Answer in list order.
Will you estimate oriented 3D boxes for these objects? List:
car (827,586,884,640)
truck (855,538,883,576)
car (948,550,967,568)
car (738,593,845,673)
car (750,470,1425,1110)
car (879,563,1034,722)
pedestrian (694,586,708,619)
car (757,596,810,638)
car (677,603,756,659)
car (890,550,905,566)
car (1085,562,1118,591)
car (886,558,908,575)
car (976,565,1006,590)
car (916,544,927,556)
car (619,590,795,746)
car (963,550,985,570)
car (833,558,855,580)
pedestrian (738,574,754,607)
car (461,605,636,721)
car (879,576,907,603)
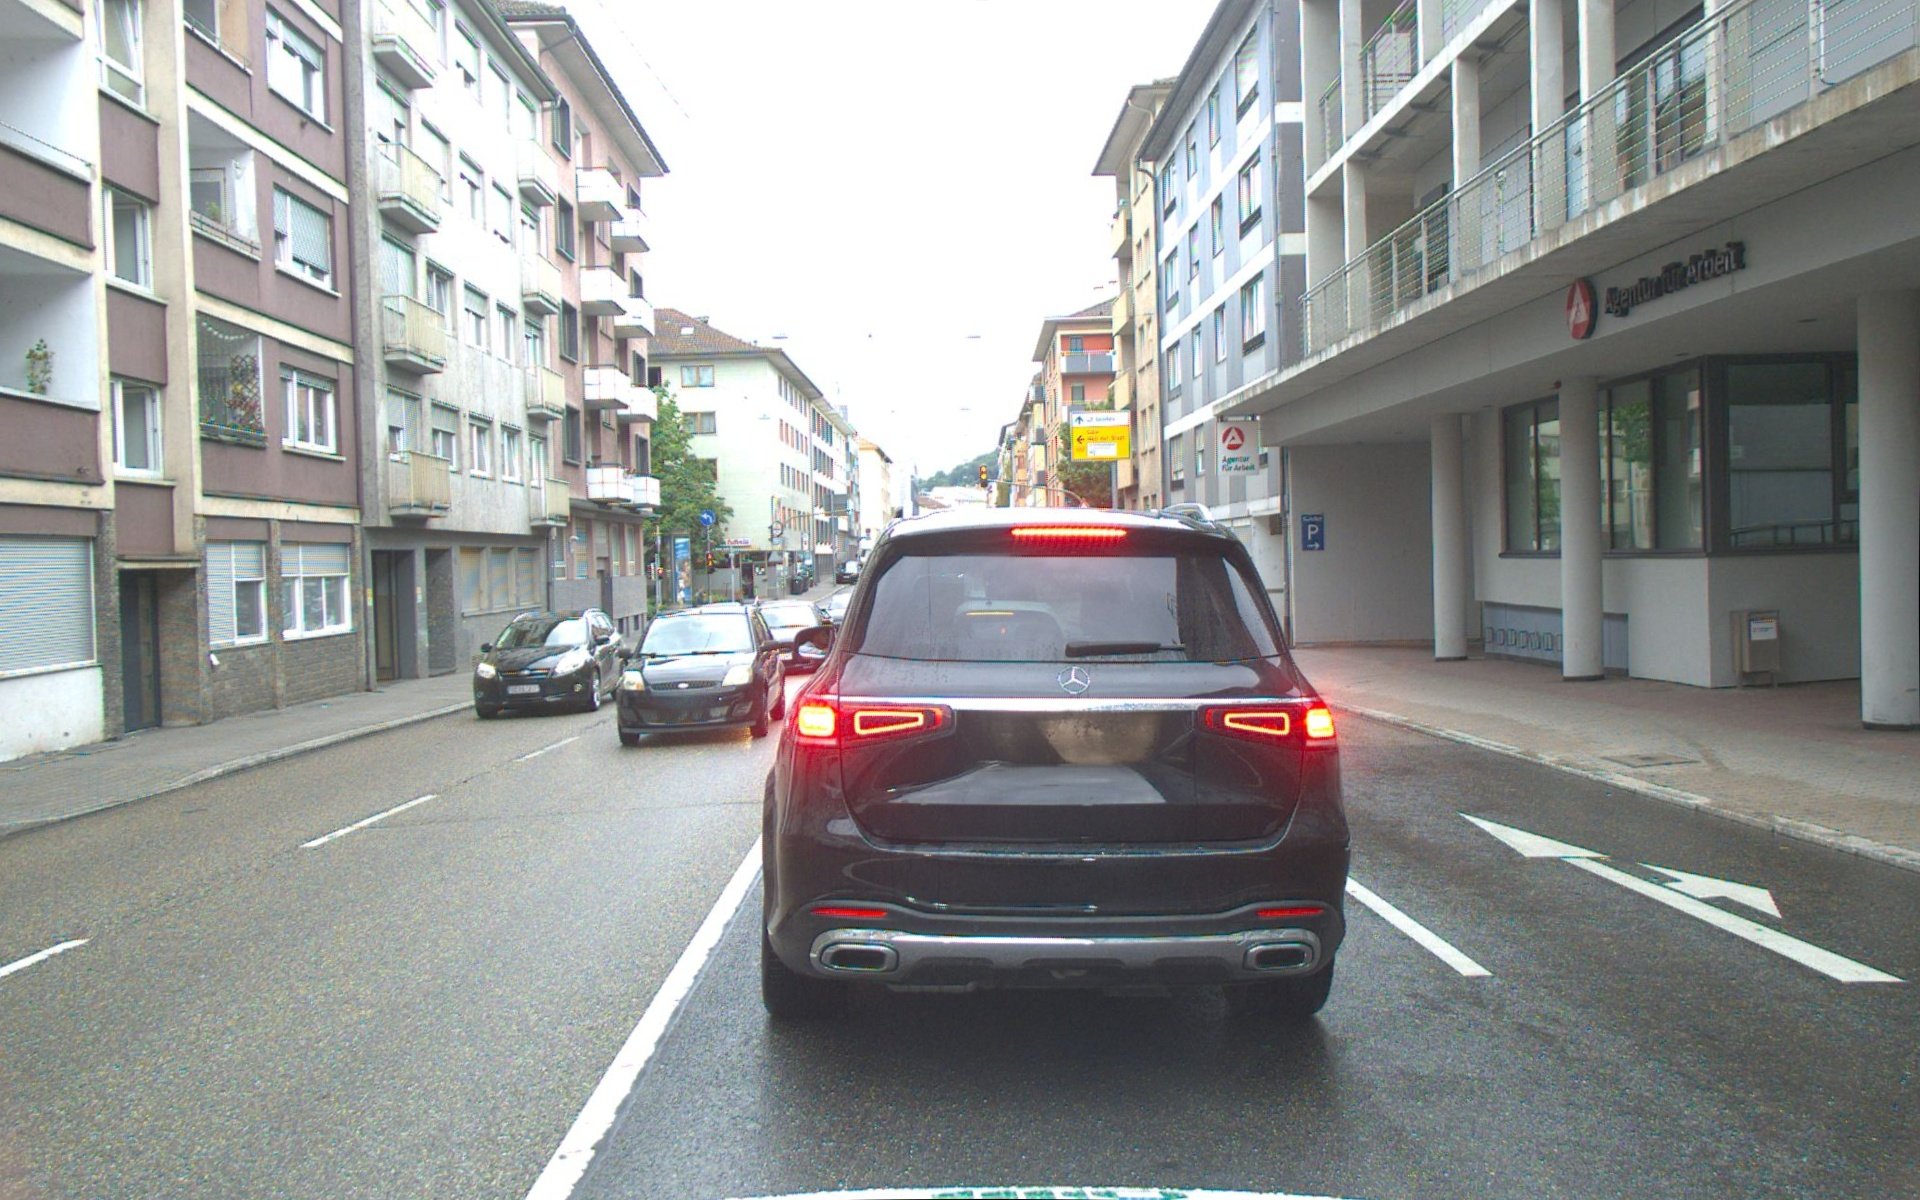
[{"bbox_3d":[-3.408,0.426,54.405,1.661,1.608,4.216,-3,-1,-2],"label":"car"},{"bbox_3d":[-8.607,-4.028,156.943,2.430,3.099,9.914,-3,0,-3],"label":"truck"},{"bbox_3d":[-0.266,-4.034,162.103,1.586,1.566,4.215,-3,0,-3],"label":"car"},{"bbox_3d":[-3.321,0.639,33.244,1.660,1.394,4.217,-4,-1,0],"label":"car"},{"bbox_3d":[0.346,0.567,7.020,1.944,1.836,4.389,1,0,-1],"label":"car"},{"bbox_3d":[-0.140,0.491,20.827,1.716,1.762,4.215,-1,0,-3],"label":"car"},{"bbox_3d":[-14.336,0.154,91.435,0.625,1.795,0.769,-2,0,-17],"label":"pedestrian"},{"bbox_3d":[-6.589,0.614,62.036,1.566,1.394,4.361,-4,0,-2],"label":"car"},{"bbox_3d":[-6.844,0.856,46.822,1.661,1.394,4.364,-4,0,-2],"label":"car"},{"bbox_3d":[-7.288,-4.914,193.606,1.586,1.566,4.215,-3,0,-3],"label":"car"},{"bbox_3d":[8.086,-1.338,94.755,1.636,1.616,3.331,-2,1,1],"label":"car"},{"bbox_3d":[-5.528,-2.923,144.551,1.848,1.286,4.215,-3,0,-3],"label":"car"},{"bbox_3d":[1.987,-1.424,106.144,1.586,1.411,4.215,-3,0,-3],"label":"car"},{"bbox_3d":[-5.827,-7.541,250.141,1.586,1.566,4.215,-3,0,-3],"label":"car"},{"bbox_3d":[-2.908,0.735,19.742,1.586,1.566,4.215,-3,0,-3],"label":"car"},{"bbox_3d":[1.232,-3.447,143.162,1.586,1.566,4.215,-3,0,-3],"label":"car"},{"bbox_3d":[-9.218,-2.463,131.491,1.586,1.566,4.215,-3,0,-3],"label":"car"},{"bbox_3d":[-13.155,-0.584,101.715,0.904,1.935,0.706,-2,0,-3],"label":"pedestrian"},{"bbox_3d":[-6.267,0.901,25.661,1.689,1.498,4.372,-4,1,-2],"label":"car"},{"bbox_3d":[-4.136,-0.627,101.170,1.586,1.566,4.215,-3,0,-3],"label":"car"}]
